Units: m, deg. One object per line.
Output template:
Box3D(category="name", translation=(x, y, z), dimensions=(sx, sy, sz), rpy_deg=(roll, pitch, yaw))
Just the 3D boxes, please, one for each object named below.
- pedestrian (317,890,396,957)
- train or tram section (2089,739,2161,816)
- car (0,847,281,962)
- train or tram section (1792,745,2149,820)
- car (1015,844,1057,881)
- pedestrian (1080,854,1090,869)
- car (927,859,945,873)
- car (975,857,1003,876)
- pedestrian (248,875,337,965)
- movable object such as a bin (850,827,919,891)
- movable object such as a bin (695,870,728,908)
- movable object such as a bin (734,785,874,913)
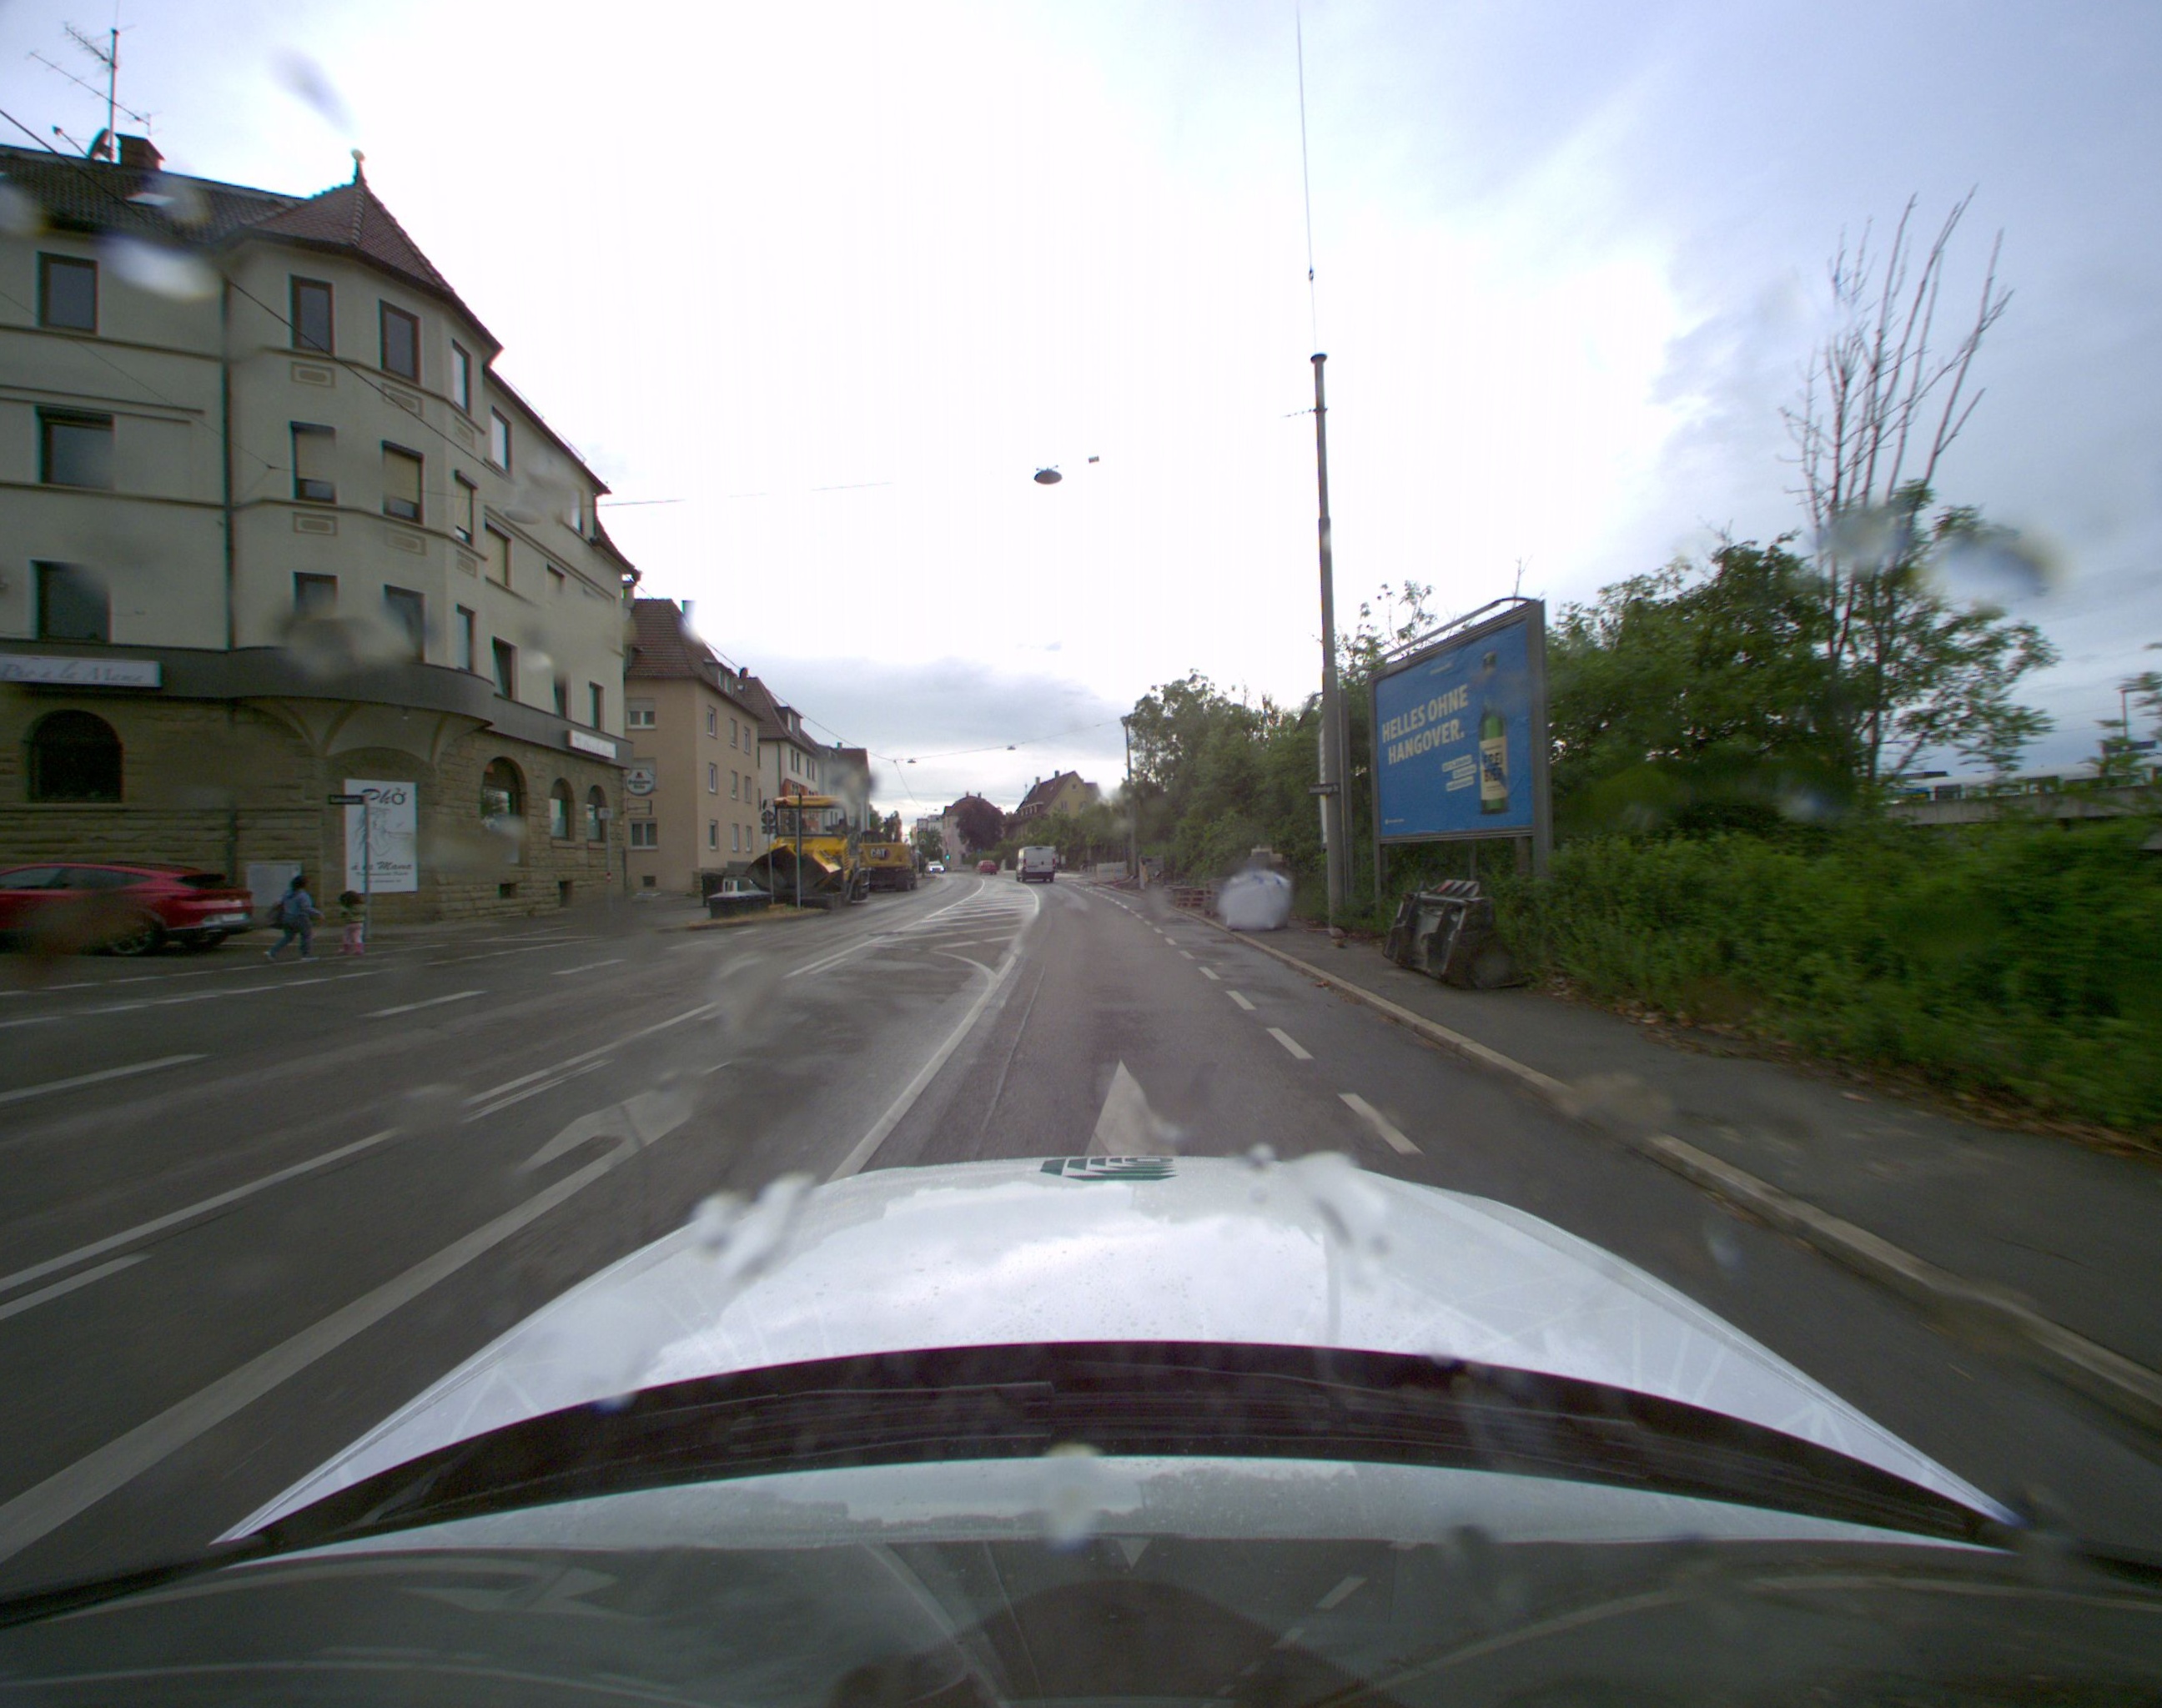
Box3D(category="pedestrian", translation=(-13.055, 1.236, 14.686), dimensions=(0.737, 1.123, 0.734), rpy_deg=(0, 1, 11))
Box3D(category="train or tram section", translation=(56.137, -3.729, 34.831), dimensions=(3.188, 3.829, 18.486), rpy_deg=(0, 2, 0))
Box3D(category="car", translation=(-17.104, 0.814, 13.807), dimensions=(4.543, 1.574, 1.925), rpy_deg=(5, 0, -19))
Box3D(category="train or tram section", translation=(56.210, -4.245, 53.315), dimensions=(3.188, 3.829, 18.486), rpy_deg=(0, 2, 0))
Box3D(category="car", translation=(-2.974, 0.503, 52.956), dimensions=(2.237, 2.213, 4.699), rpy_deg=(0, 2, -9))
Box3D(category="pedestrian", translation=(0.385, 0.715, 75.500), dimensions=(0.877, 1.367, 1.064), rpy_deg=(0, 1, -4))
Box3D(category="car", translation=(-17.795, 1.488, 99.643), dimensions=(1.931, 1.556, 4.598), rpy_deg=(0, -1, -13))
Box3D(category="car", translation=(-9.482, 1.244, 83.711), dimensions=(2.241, 1.656, 4.689), rpy_deg=(-1, 2, -15))
Box3D(category="pedestrian", translation=(-13.138, 1.074, 13.598), dimensions=(0.783, 1.401, 0.802), rpy_deg=(-1, 1, -21))
Box3D(category="movable object such as a bin", translation=(-10.211, 0.234, 42.723), dimensions=(2.867, 3.173, 4.118), rpy_deg=(0, 1, -5))
Box3D(category="movable object such as a bin", translation=(-12.888, 1.202, 28.408), dimensions=(0.896, 1.222, 1.192), rpy_deg=(-1, 2, -32))
Box3D(category="movable object such as a bin", translation=(-9.162, -0.229, 27.687), dimensions=(2.767, 3.855, 5.985), rpy_deg=(0, 1, -1))
